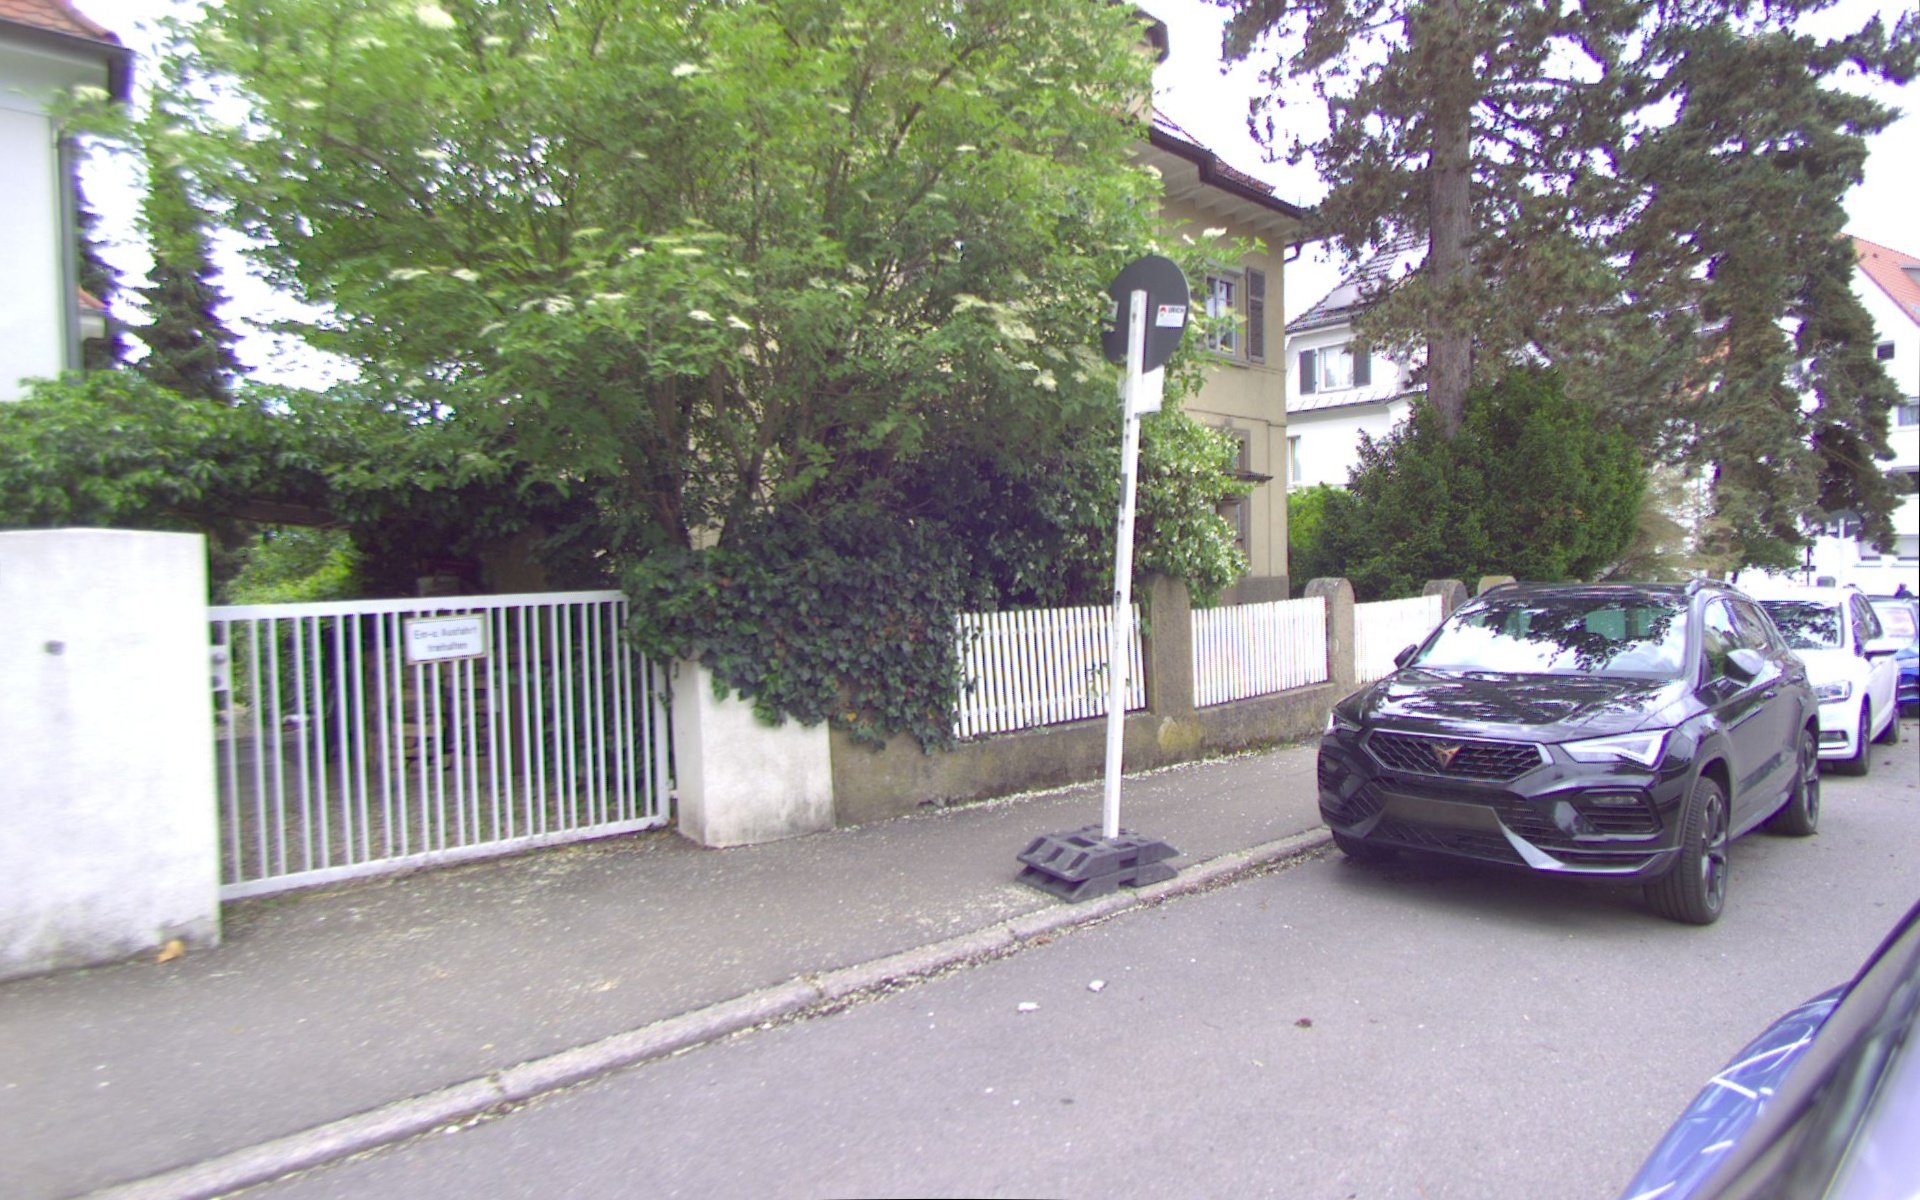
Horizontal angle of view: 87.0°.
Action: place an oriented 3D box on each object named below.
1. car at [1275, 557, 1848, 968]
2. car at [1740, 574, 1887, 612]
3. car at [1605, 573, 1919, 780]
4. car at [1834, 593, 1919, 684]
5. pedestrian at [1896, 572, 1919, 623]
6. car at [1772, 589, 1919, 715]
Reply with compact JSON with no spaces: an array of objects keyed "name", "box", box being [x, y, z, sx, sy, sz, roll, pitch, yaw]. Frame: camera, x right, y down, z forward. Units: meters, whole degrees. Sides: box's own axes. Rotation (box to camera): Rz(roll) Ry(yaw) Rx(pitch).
[{"name":"car","box":[3.756,0.628,6.011,4.005,1.628,1.752,-1,-1,-41]},{"name":"car","box":[35.722,-0.286,42.490,1.728,1.468,4.365,-1,1,-28]},{"name":"car","box":[8.083,0.598,10.028,4.231,1.624,1.787,-1,-1,-42]},{"name":"car","box":[16.180,0.590,17.117,3.591,1.418,1.576,-1,-1,-41]},{"name":"pedestrian","box":[30.766,-0.093,32.598,0.889,1.595,0.683,-2,4,-35]},{"name":"car","box":[12.711,0.617,13.969,3.981,1.477,1.650,-1,0,-41]}]
